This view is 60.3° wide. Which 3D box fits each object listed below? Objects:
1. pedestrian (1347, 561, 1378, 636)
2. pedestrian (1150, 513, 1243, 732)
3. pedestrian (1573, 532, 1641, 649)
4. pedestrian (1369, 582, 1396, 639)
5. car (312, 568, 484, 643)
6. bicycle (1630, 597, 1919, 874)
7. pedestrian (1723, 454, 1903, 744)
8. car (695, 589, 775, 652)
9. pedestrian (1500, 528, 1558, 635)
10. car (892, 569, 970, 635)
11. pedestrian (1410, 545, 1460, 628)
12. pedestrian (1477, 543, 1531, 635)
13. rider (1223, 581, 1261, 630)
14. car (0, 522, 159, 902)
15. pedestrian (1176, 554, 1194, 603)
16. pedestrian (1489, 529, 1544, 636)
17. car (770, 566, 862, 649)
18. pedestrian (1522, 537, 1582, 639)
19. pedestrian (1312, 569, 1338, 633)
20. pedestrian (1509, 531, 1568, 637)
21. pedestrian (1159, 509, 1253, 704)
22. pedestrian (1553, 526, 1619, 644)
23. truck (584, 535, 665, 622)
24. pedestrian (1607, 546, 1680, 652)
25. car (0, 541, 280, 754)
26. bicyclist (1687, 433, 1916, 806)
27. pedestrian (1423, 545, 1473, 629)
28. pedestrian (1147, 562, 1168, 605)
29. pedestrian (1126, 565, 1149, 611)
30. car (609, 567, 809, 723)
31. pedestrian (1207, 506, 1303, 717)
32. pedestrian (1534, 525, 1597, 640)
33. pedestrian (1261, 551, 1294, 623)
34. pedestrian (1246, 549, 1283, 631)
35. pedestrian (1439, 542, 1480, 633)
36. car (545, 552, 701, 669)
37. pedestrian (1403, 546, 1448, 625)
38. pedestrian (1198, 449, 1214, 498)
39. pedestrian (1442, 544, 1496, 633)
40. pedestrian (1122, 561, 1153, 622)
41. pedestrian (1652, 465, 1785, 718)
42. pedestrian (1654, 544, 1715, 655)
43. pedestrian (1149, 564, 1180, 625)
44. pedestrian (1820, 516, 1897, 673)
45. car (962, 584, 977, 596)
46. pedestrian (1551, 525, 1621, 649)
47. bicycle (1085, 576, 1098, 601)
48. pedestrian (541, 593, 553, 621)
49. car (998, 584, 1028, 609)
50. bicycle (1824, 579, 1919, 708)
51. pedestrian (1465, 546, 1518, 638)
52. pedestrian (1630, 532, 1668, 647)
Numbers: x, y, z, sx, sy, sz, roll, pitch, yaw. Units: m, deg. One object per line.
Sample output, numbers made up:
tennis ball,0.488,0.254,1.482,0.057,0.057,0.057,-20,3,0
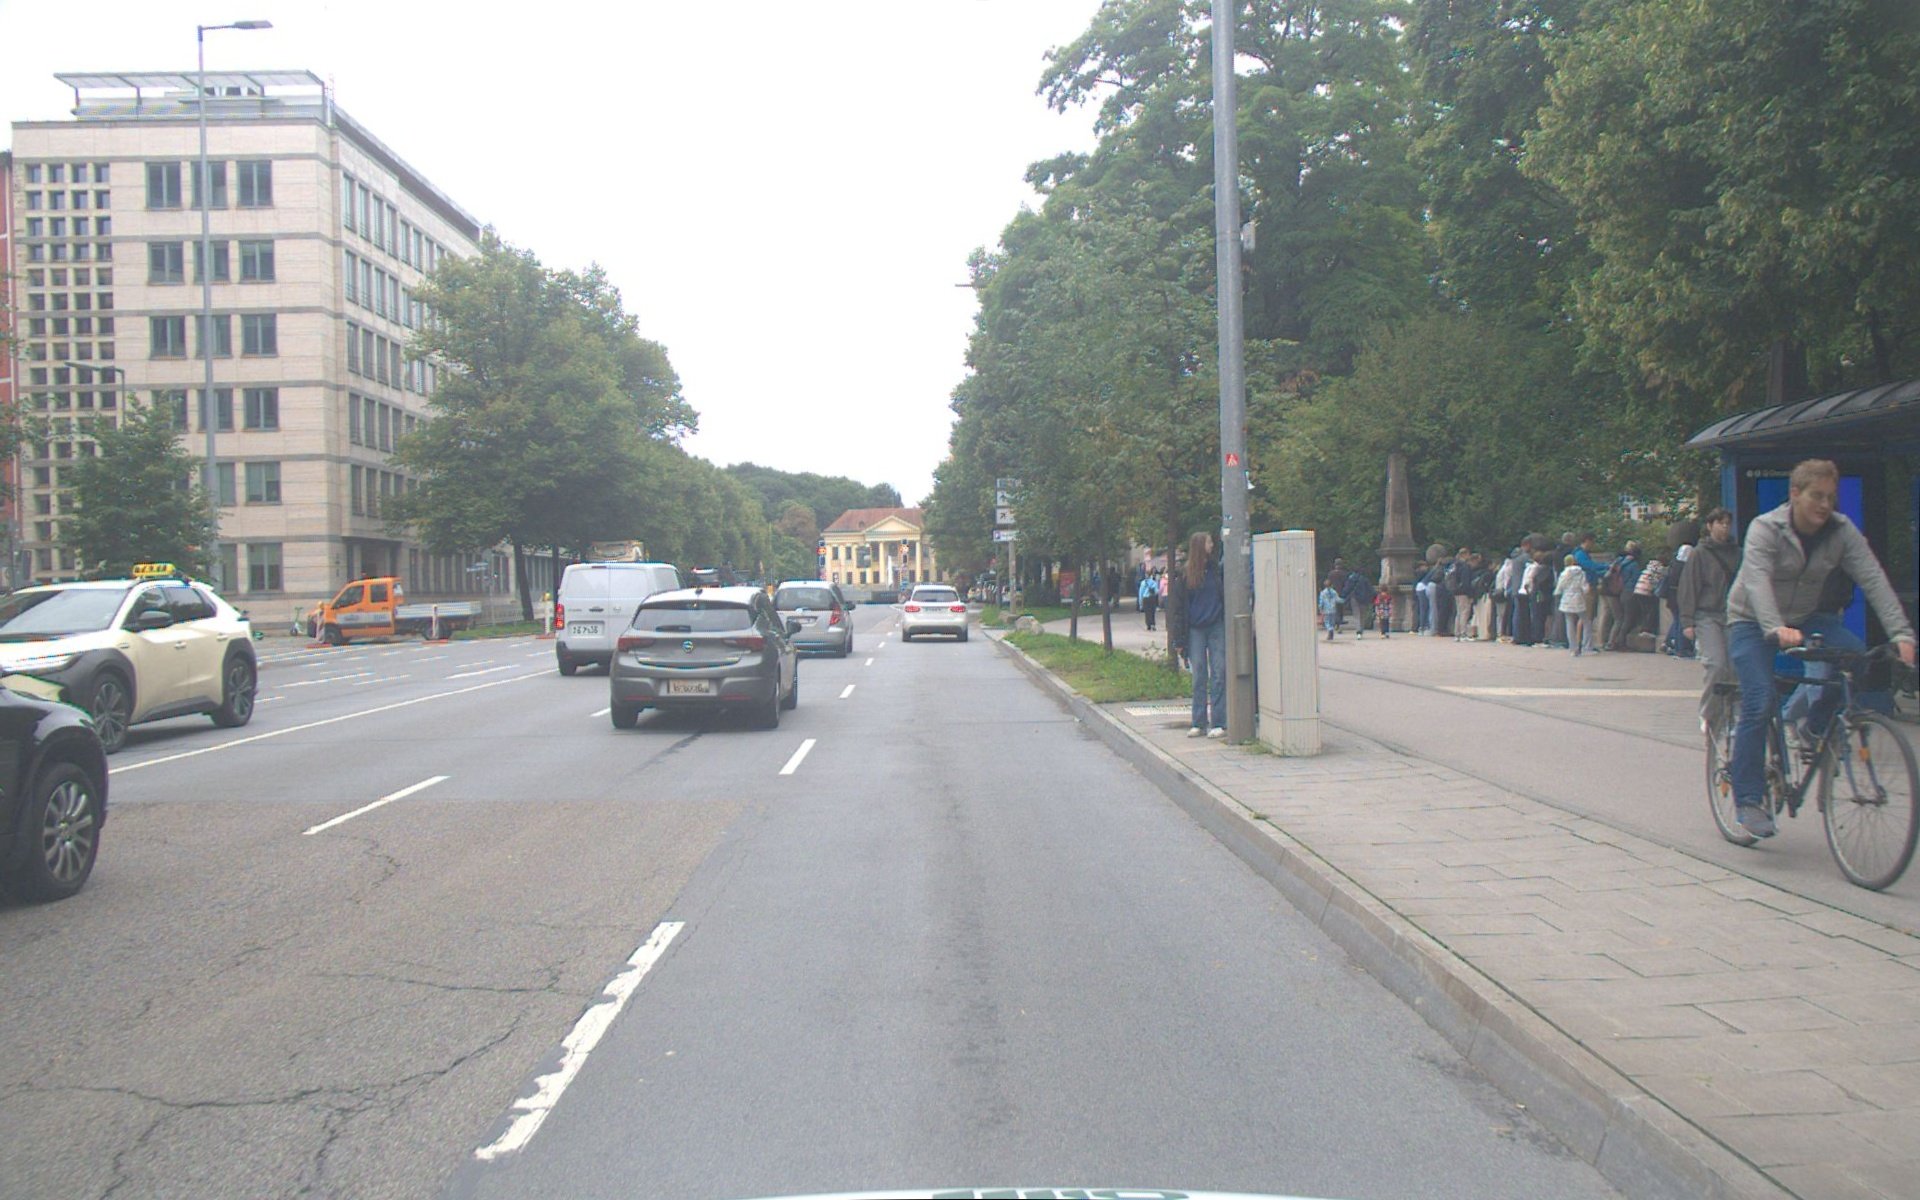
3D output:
pedestrian,8.463,-0.030,34.794,0.538,1.554,0.648,0,0,4
pedestrian,2.023,0.184,14.205,0.693,1.840,0.639,0,0,-1
pedestrian,10.114,-0.149,25.889,0.795,1.799,0.729,0,0,1
pedestrian,8.864,0.217,34.691,0.448,1.173,0.648,0,0,4
car,-20.709,0.187,61.138,5.570,2.580,2.154,-2,0,-5
bicycle,3.722,0.515,7.322,0.661,1.048,2.012,0,0,-1
pedestrian,5.630,-0.008,10.962,0.693,1.840,0.950,0,0,-1
car,-6.309,0.543,46.679,1.743,1.683,3.999,0,0,-1
pedestrian,10.215,-0.334,29.719,0.795,1.907,0.729,0,0,1
car,-0.826,0.039,44.585,1.745,1.673,3.995,0,0,-6
pedestrian,10.138,-0.285,35.305,0.795,1.720,0.729,-2,0,1
pedestrian,10.266,-0.208,31.251,0.795,1.720,0.729,0,0,1
rider,6.622,0.129,38.853,0.749,1.131,1.245,0,0,4
car,-5.044,0.510,6.619,1.688,1.665,4.203,-1,0,-2
pedestrian,8.719,-0.833,64.037,0.576,1.854,0.850,0,0,0
pedestrian,10.245,-0.328,30.475,0.795,1.950,0.729,0,0,1
car,-3.050,0.142,35.692,1.743,1.683,3.999,0,0,-2
pedestrian,10.092,-0.202,28.224,0.795,1.720,0.674,0,0,1
pedestrian,7.775,0.014,35.237,0.448,1.349,0.648,0,0,4
pedestrian,10.115,-0.276,28.945,0.795,1.821,0.729,0,0,1
pedestrian,2.478,0.059,16.649,0.789,1.914,0.542,0,0,35
pedestrian,10.103,-0.236,26.712,0.795,1.884,0.729,0,0,1
truck,-15.580,-0.976,77.272,2.859,3.840,7.657,0,0,-5
pedestrian,10.051,-0.023,24.341,0.795,1.534,0.729,0,0,1
car,-8.574,0.412,16.263,1.819,1.779,4.629,-3,1,-1
bicyclist,3.728,0.081,7.369,0.693,1.589,0.639,0,0,-1
pedestrian,10.180,-0.270,34.514,0.795,1.720,0.729,-1,0,1
pedestrian,7.675,-0.641,64.386,0.738,1.672,0.651,0,0,14
pedestrian,6.756,-0.455,62.859,0.738,1.767,0.850,0,0,14
car,-2.731,0.444,18.772,1.675,1.579,4.000,0,0,0
pedestrian,2.661,0.100,14.903,0.626,1.840,0.708,0,0,35
pedestrian,10.063,-0.296,27.502,0.795,1.884,0.729,0,0,1
pedestrian,7.601,-0.316,39.632,0.711,1.720,0.648,0,0,4
pedestrian,6.401,-0.208,34.778,0.711,1.720,0.648,0,0,4
pedestrian,9.529,-0.243,31.546,0.579,1.720,0.729,0,0,1
car,-5.913,0.169,29.615,1.860,1.880,4.954,-1,0,-2
pedestrian,10.208,-0.323,36.290,0.795,1.720,0.729,0,0,1
pedestrian,8.225,-4.203,55.184,0.474,1.593,0.573,0,0,14
pedestrian,10.066,-0.231,32.754,0.795,1.720,0.729,-2,0,1
pedestrian,4.947,-0.238,46.070,0.738,1.672,0.850,0,0,14
pedestrian,5.647,-0.061,12.340,0.693,1.840,0.639,0,0,-1
pedestrian,10.129,-0.015,23.127,0.623,1.534,0.533,0,0,1
pedestrian,5.679,-0.155,45.900,0.738,1.672,0.850,0,0,14
pedestrian,10.465,-0.063,19.273,0.623,1.799,0.533,0,0,1
car,1.152,-1.182,195.999,1.689,1.347,4.027,-2,0,0
pedestrian,9.492,-0.200,25.092,0.795,1.861,0.729,0,0,1
bicycle,5.537,-0.478,69.569,0.376,1.039,2.079,0,0,-1
pedestrian,-26.080,0.411,104.484,0.567,1.762,0.764,0,0,-1
car,3.556,-0.217,111.074,1.790,1.577,4.751,-2,0,0
bicycle,8.207,0.358,14.521,0.385,1.079,1.576,0,1,-1
pedestrian,10.264,-0.158,31.957,0.795,1.769,0.729,0,0,1
pedestrian,10.504,-0.166,25.209,0.411,1.733,0.443,0,0,2
